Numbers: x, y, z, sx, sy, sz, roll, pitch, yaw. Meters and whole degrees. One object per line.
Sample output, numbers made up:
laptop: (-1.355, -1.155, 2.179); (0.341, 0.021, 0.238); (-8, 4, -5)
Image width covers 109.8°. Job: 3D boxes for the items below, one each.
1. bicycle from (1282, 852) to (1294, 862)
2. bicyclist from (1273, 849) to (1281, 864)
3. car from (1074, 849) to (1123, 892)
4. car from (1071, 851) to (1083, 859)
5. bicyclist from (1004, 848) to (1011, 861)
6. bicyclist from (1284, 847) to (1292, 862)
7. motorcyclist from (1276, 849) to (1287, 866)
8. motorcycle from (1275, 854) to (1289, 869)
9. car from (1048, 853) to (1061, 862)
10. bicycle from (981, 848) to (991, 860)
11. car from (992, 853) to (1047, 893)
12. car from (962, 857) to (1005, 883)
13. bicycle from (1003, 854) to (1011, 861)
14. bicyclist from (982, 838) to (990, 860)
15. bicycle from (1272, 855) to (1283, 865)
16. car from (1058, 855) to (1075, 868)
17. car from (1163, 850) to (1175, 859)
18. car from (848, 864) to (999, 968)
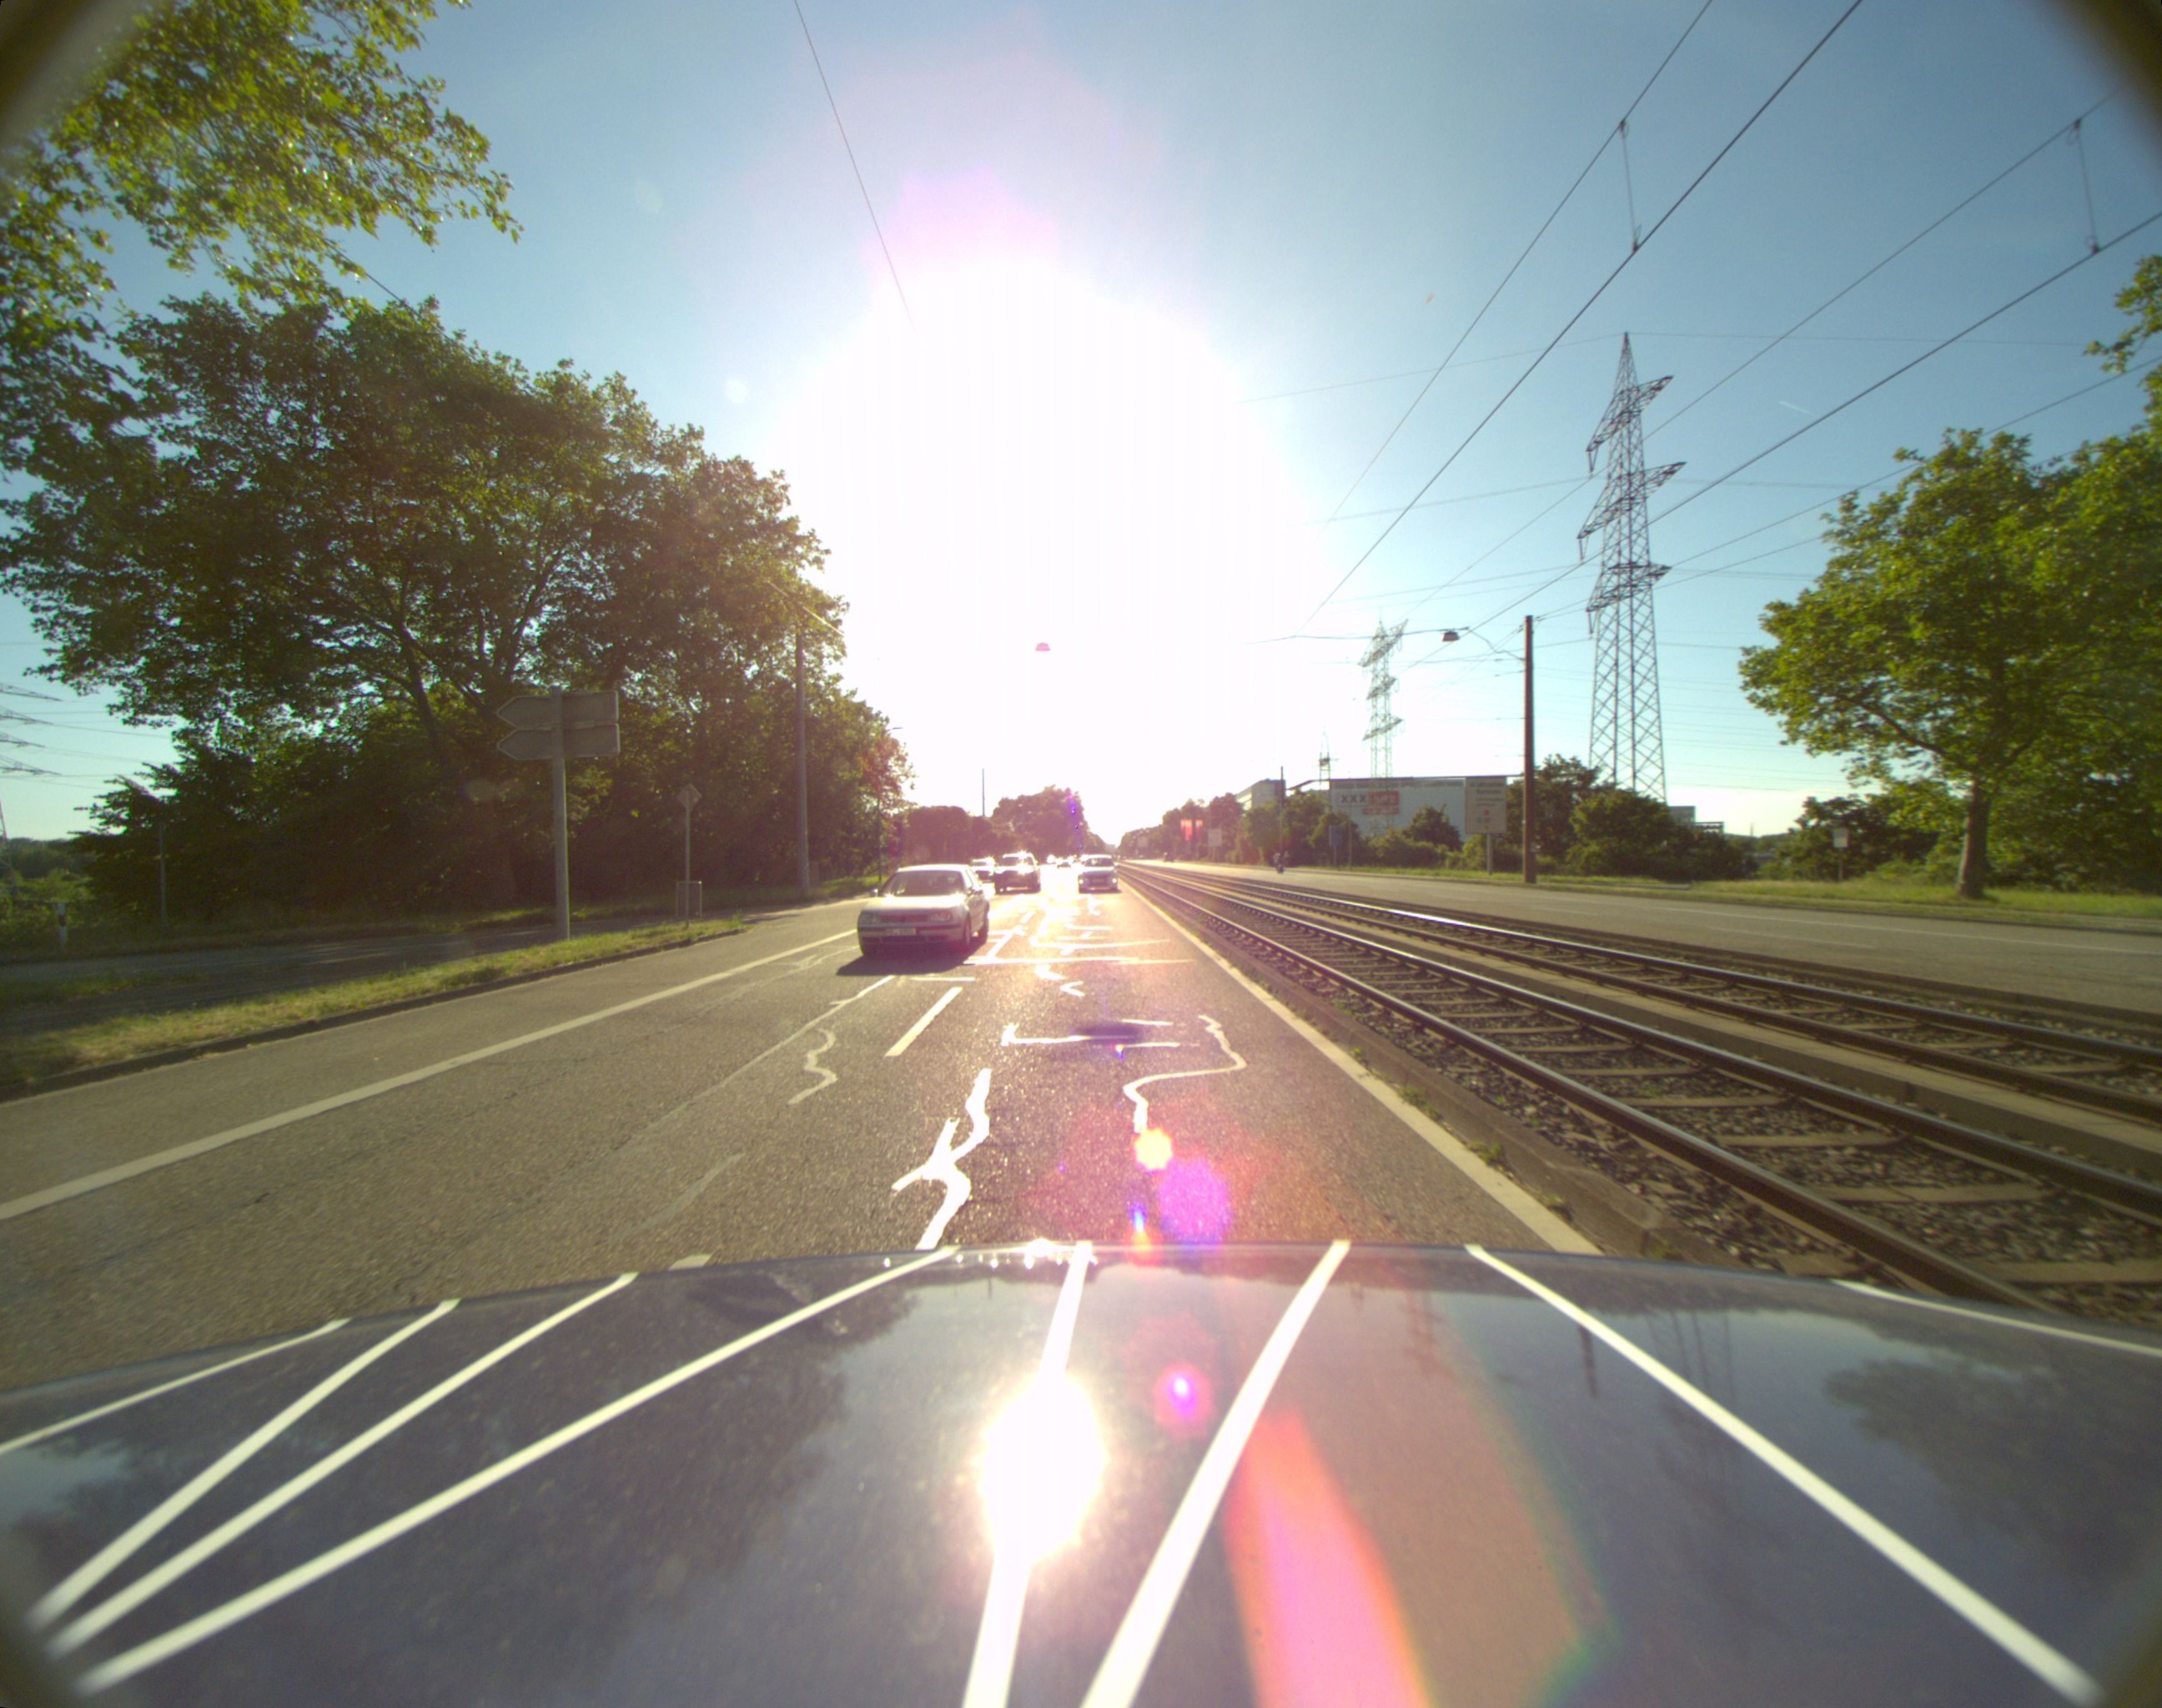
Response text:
bicycle: (21.675, 0.308, 79.555); (0.591, 1.016, 2.185); (-1, 1, 0)
bicyclist: (20.343, 0.269, 78.742); (0.591, 1.601, 0.967); (-1, 1, 0)
car: (0.780, 0.645, 32.395); (1.881, 1.591, 4.416); (-1, 1, 2)
car: (-0.807, 0.230, 153.825); (1.880, 1.449, 4.417); (-1, 1, 4)
bicyclist: (-8.420, 0.066, 86.808); (0.628, 1.463, 1.060); (2, 1, 2)
bicyclist: (21.665, 0.048, 79.531); (0.591, 1.519, 0.906); (-1, 1, 0)
motorcyclist: (15.385, 0.239, 58.257); (0.537, 1.263, 0.805); (-3, 1, 1)
motorcycle: (15.396, 0.551, 58.328); (0.537, 1.084, 1.902); (-3, 1, 1)
car: (-4.718, 0.651, 134.896); (1.880, 1.449, 4.417); (-1, 1, 4)
bicycle: (-8.933, 0.033, 71.323); (0.528, 1.054, 1.972); (-3, 0, 2)
car: (-2.674, 0.795, 33.884); (1.881, 1.591, 4.416); (-1, 1, 2)
car: (-6.113, 0.957, 48.197); (1.881, 1.435, 4.660); (-1, 1, 3)
bicycle: (-8.448, 0.383, 86.789); (0.628, 0.829, 1.635); (2, 1, 3)
bicyclist: (-8.951, -0.444, 71.526); (0.528, 2.005, 0.729); (-3, 1, 2)
bicycle: (20.350, 0.578, 78.873); (0.591, 1.016, 2.185); (-1, 1, 0)
car: (-1.731, 0.941, 92.512); (1.881, 1.449, 4.416); (-1, 1, 2)
car: (18.136, 0.133, 156.935); (1.998, 1.911, 4.862); (0, -1, 2)
car: (-2.594, 0.965, 13.477); (1.695, 1.437, 4.001); (-2, 1, 2)
